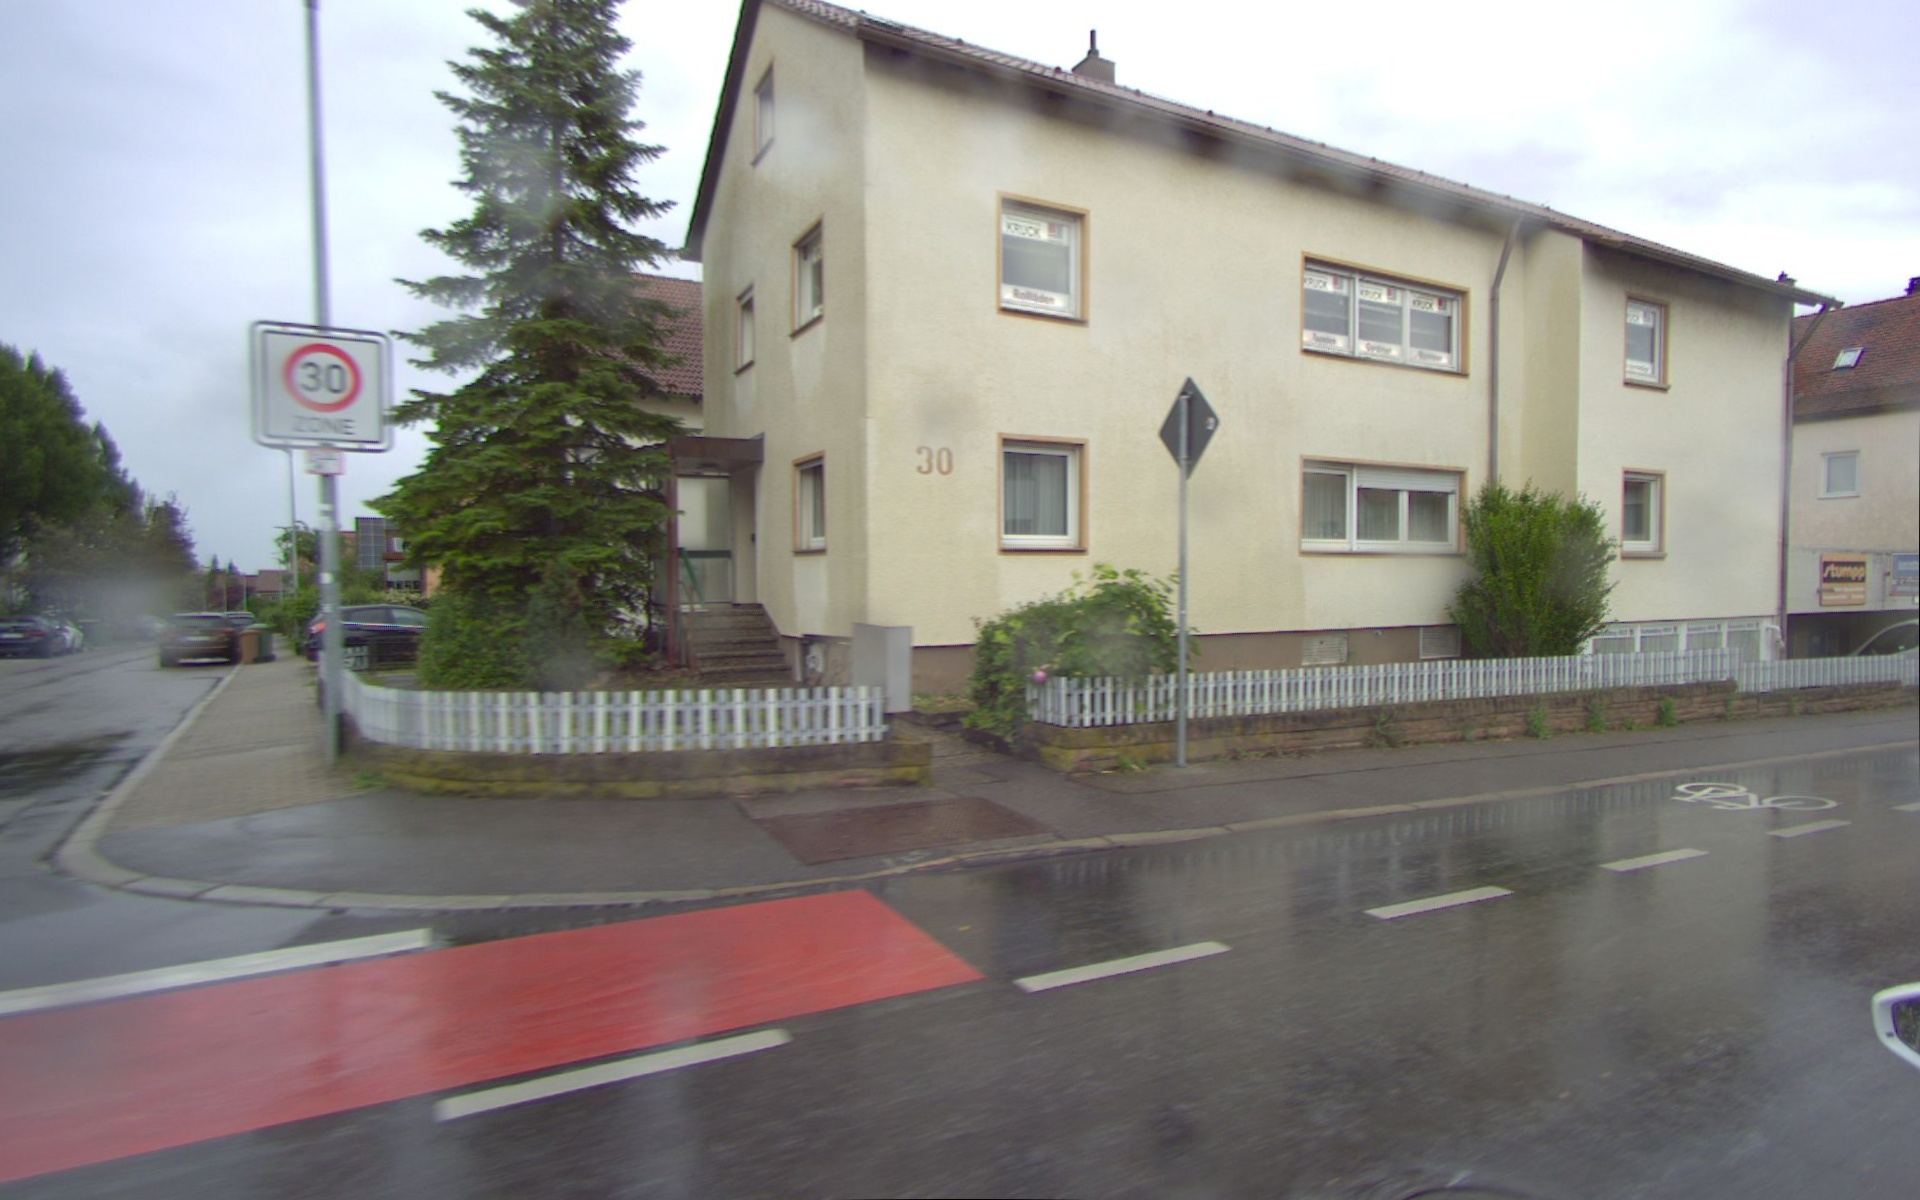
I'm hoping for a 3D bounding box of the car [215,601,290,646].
[{"bbox_3d":[-28.007,0.870,39.867,1.671,1.462,3.974,-2,3,-25],"label":"car"}]

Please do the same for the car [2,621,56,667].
[{"bbox_3d":[-31.730,1.478,34.231,1.253,1.363,2.904,-4,3,-44],"label":"car"}]

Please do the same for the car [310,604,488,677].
[{"bbox_3d":[-12.667,0.868,22.792,3.357,1.363,1.533,-3,2,-31],"label":"car"}]

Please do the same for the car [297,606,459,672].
[{"bbox_3d":[-14.417,0.927,24.995,3.357,1.363,1.504,-3,2,-31],"label":"car"}]

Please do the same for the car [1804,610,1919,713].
[{"bbox_3d":[22.017,1.146,22.121,2.133,2.036,4.543,-3,-10,-29],"label":"car"}]

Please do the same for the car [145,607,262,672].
[{"bbox_3d":[-21.861,1.078,29.211,1.858,1.462,3.974,-2,3,-25],"label":"car"}]
